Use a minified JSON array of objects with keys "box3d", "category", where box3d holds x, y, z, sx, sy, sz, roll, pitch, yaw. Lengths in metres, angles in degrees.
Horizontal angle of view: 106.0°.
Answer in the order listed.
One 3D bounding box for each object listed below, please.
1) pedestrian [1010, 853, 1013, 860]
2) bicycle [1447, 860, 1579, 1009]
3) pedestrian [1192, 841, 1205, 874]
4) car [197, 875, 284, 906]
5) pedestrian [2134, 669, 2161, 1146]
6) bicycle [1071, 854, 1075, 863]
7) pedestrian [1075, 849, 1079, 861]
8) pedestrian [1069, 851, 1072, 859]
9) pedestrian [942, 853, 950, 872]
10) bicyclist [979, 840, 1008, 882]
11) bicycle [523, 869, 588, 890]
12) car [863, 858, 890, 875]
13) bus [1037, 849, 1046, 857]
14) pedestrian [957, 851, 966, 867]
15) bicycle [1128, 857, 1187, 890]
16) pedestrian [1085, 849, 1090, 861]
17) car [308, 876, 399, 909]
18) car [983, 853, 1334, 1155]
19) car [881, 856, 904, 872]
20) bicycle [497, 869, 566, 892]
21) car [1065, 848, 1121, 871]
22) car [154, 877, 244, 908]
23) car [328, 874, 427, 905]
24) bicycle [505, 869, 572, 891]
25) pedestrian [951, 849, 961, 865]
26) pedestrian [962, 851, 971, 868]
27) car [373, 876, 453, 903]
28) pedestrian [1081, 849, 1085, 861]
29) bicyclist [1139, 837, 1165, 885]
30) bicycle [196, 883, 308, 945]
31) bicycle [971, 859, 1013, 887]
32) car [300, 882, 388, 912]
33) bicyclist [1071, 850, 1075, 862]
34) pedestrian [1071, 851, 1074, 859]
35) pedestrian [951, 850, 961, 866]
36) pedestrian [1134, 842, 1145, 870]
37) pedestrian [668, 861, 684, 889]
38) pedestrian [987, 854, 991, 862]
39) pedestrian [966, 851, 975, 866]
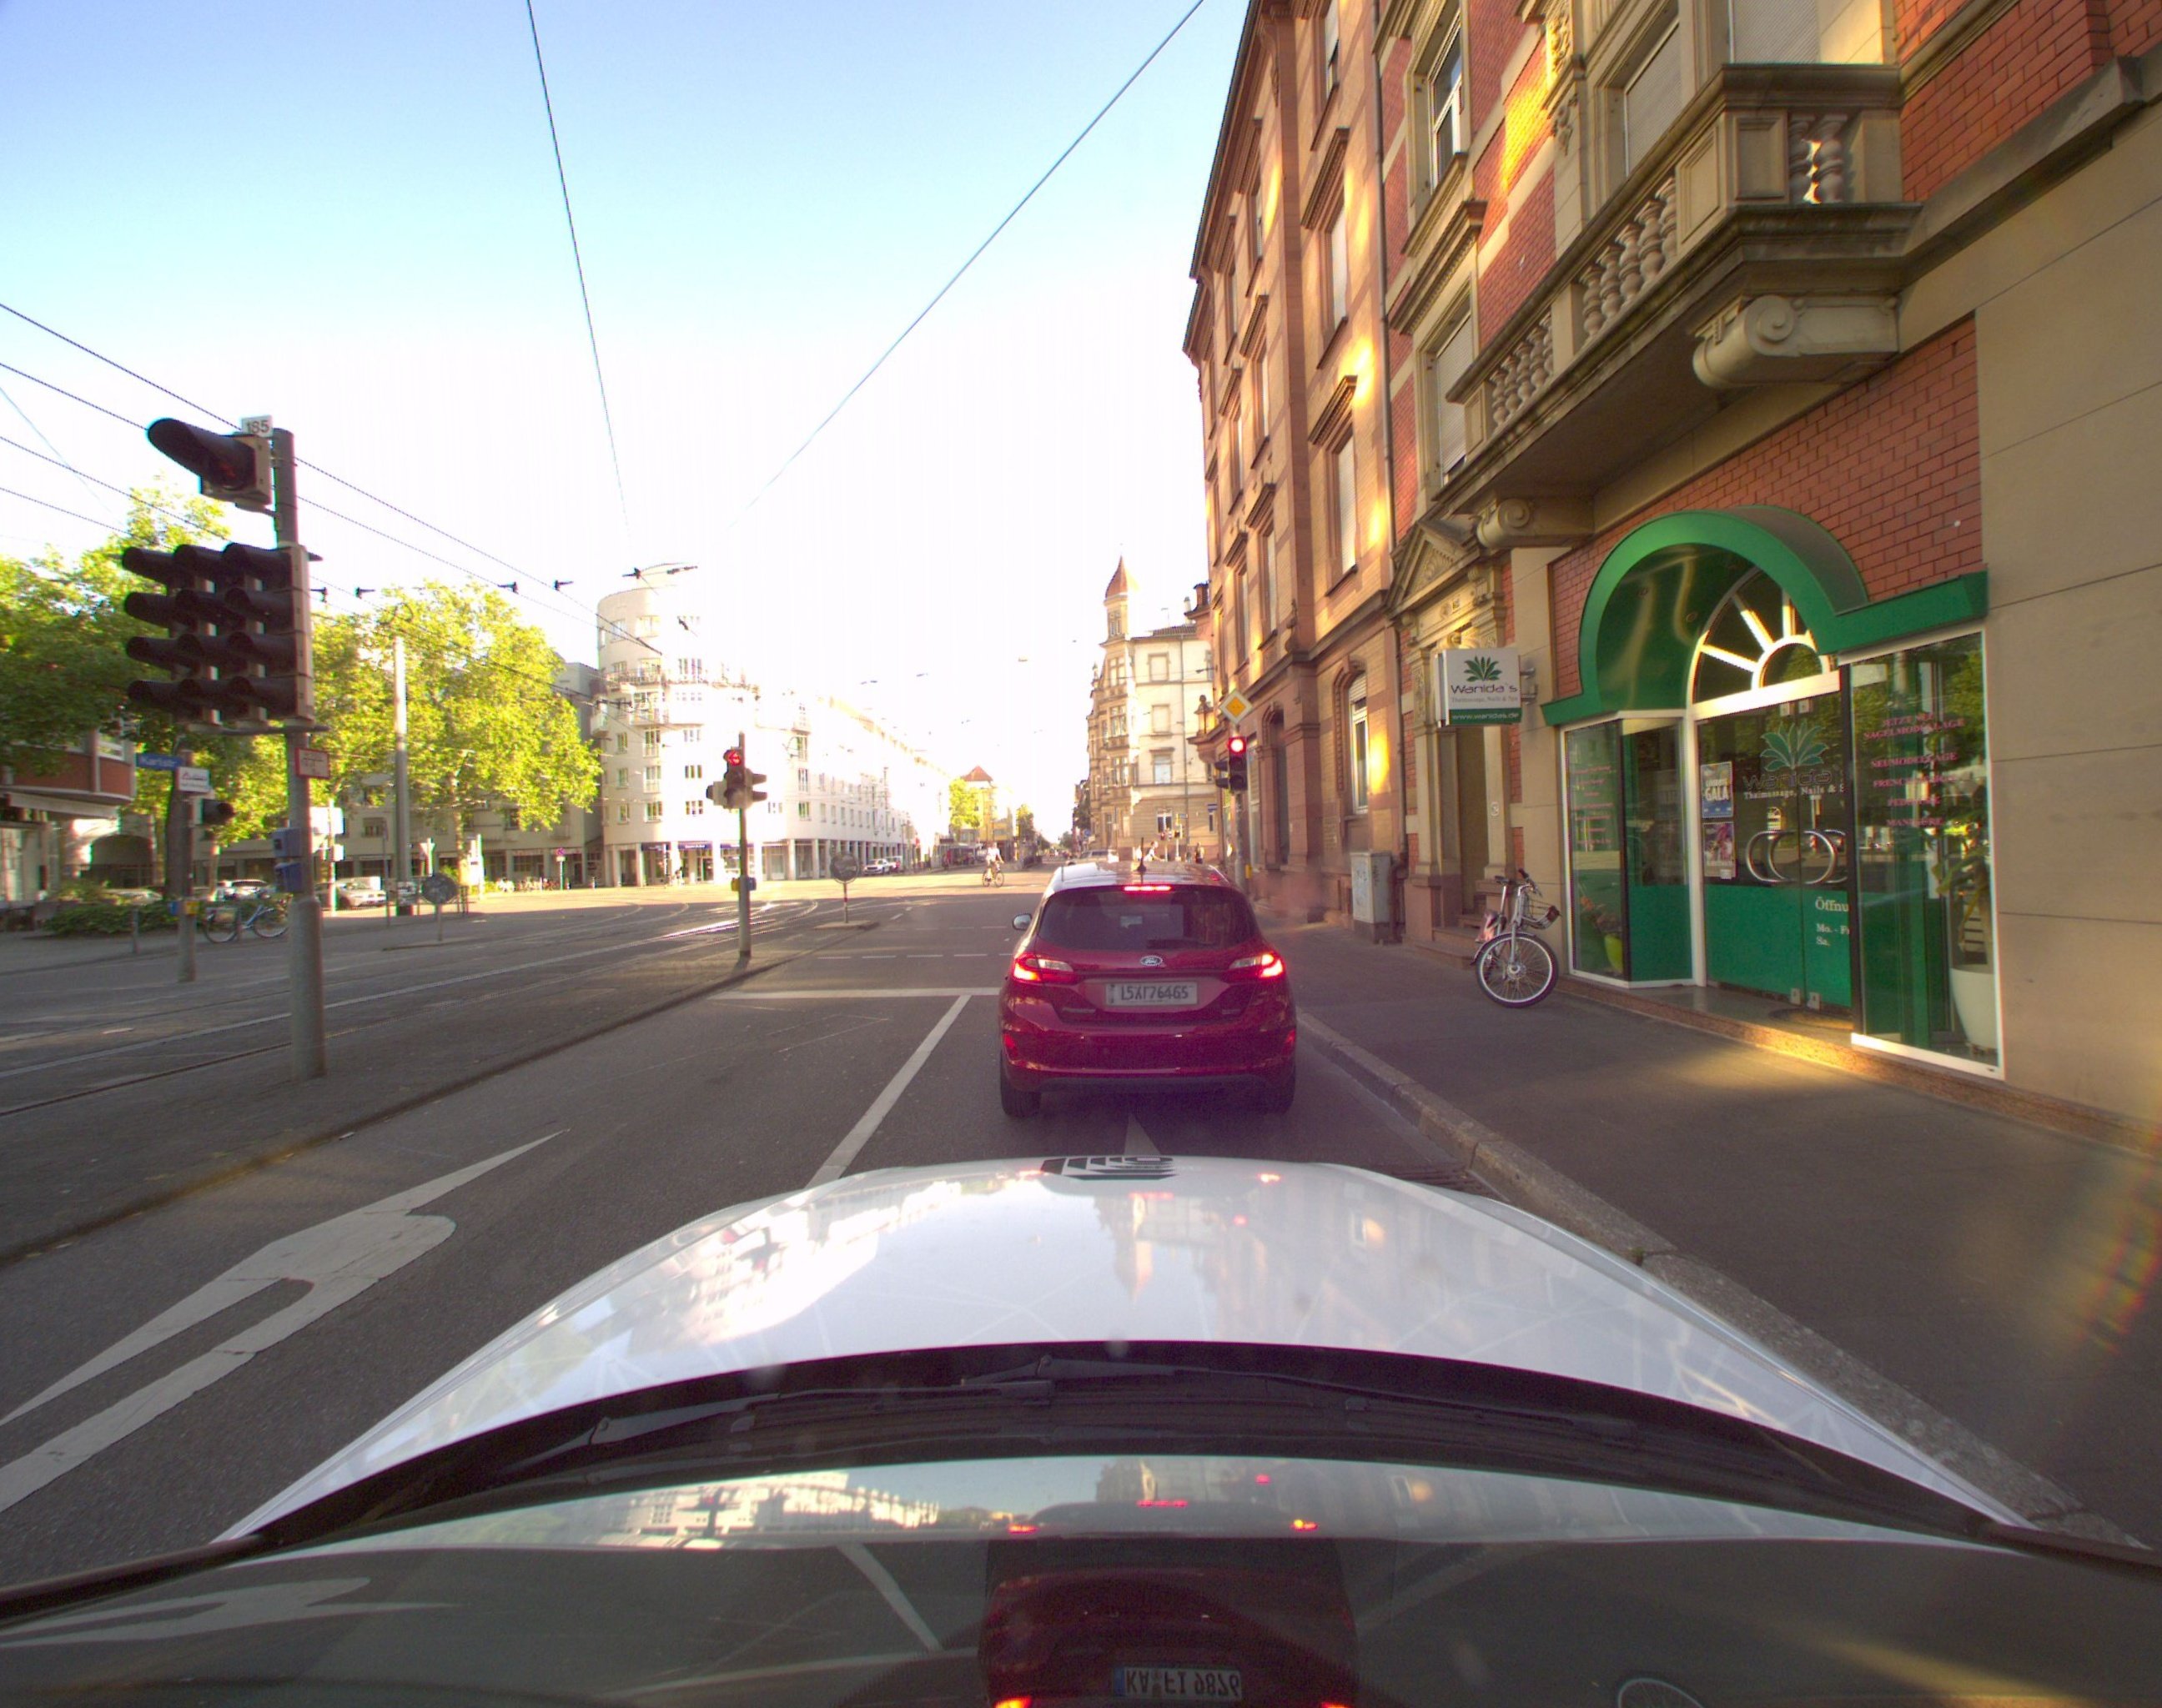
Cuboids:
[{"box3d":[-16.831,0.571,197.435,0.630,1.604,0.575,-2,0,-18],"category":"pedestrian"},{"box3d":[3.872,0.673,7.440,0.710,1.152,1.662,-4,0,17],"category":"bicycle"},{"box3d":[6.368,0.166,44.013,0.558,1.755,0.650,-3,0,1],"category":"pedestrian"},{"box3d":[-60.405,2.610,58.604,1.986,1.964,4.001,-2,0,1],"category":"car"},{"box3d":[3.429,0.373,1.730,0.944,1.792,1.054,-3,0,-2],"category":"pedestrian"},{"box3d":[-1.085,0.612,112.355,0.524,1.089,1.487,-2,0,1],"category":"bicycle"},{"box3d":[-0.668,0.195,139.787,0.574,2.013,0.632,-2,0,5],"category":"pedestrian"},{"box3d":[-2.694,0.323,204.414,0.575,1.887,0.669,-2,0,-1],"category":"pedestrian"},{"box3d":[-12.226,0.805,73.596,0.521,1.681,0.486,-2,0,3],"category":"pedestrian"},{"box3d":[-3.884,0.309,36.118,0.815,1.821,0.981,-2,0,-42],"category":"bicyclist"},{"box3d":[-42.850,2.063,66.429,4.685,1.530,1.067,-2,0,2],"category":"bicycle"},{"box3d":[-20.161,1.178,80.525,1.760,1.546,3.460,-2,0,0],"category":"car"},{"box3d":[-10.451,-0.336,217.618,1.919,2.013,7.137,-2,0,1],"category":"bus"},{"box3d":[-15.481,0.639,105.369,1.043,2.013,0.958,-2,0,-3],"category":"pedestrian"},{"box3d":[2.844,0.721,30.242,2.027,1.147,0.814,-2,0,17],"category":"bicycle"},{"box3d":[1.092,0.141,134.725,0.574,2.013,0.632,-2,0,5],"category":"pedestrian"},{"box3d":[-40.197,2.123,45.030,3.978,1.559,1.636,-2,0,11],"category":"car"},{"box3d":[0.311,0.738,6.036,1.750,1.466,3.941,-1,0,-3],"category":"car"},{"box3d":[-20.380,1.060,88.124,1.696,1.718,3.562,-2,0,-1],"category":"car"},{"box3d":[-43.007,2.073,63.739,4.685,1.530,1.067,-2,0,2],"category":"bicycle"},{"box3d":[0.858,0.394,60.315,3.859,1.549,1.463,-2,0,28],"category":"car"},{"box3d":[-63.324,2.702,58.587,1.986,1.964,4.001,-2,0,1],"category":"car"},{"box3d":[-43.743,2.198,50.693,4.435,1.641,1.702,-2,0,-4],"category":"car"},{"box3d":[-43.202,2.068,64.888,4.685,1.530,1.067,-2,0,2],"category":"bicycle"},{"box3d":[-15.887,0.406,103.424,1.043,2.013,0.958,-2,0,-3],"category":"pedestrian"},{"box3d":[-14.496,0.685,103.269,1.043,2.013,0.958,-2,0,-3],"category":"pedestrian"},{"box3d":[-44.179,2.328,53.923,3.969,1.531,1.618,-2,0,4],"category":"car"},{"box3d":[0.333,0.156,135.319,0.574,2.013,0.632,-2,0,5],"category":"pedestrian"},{"box3d":[2.645,0.261,30.288,0.785,1.726,0.814,-2,0,16],"category":"bicyclist"},{"box3d":[-19.752,1.404,19.465,0.668,1.327,1.907,1,0,2],"category":"bicycle"},{"box3d":[-3.953,0.845,36.121,0.815,1.147,1.986,-2,0,-42],"category":"bicycle"},{"box3d":[-36.920,2.158,40.806,3.968,1.295,1.781,-2,0,24],"category":"car"},{"box3d":[-1.095,0.317,112.223,0.498,1.676,0.545,-2,0,0],"category":"bicyclist"},{"box3d":[-2.165,0.245,200.947,0.575,1.887,0.630,-2,0,-1],"category":"pedestrian"},{"box3d":[-15.550,0.476,101.225,0.953,2.013,1.048,-2,0,-1],"category":"pedestrian"},{"box3d":[4.391,0.154,61.017,0.752,2.013,0.655,-2,0,9],"category":"pedestrian"},{"box3d":[-29.652,1.544,59.647,0.949,2.013,0.931,-2,0,-29],"category":"pedestrian"},{"box3d":[-18.241,0.851,161.271,0.579,1.488,0.525,-2,0,-3],"category":"pedestrian"},{"box3d":[-15.222,0.581,112.245,0.954,2.013,1.047,-2,0,-3],"category":"pedestrian"}]
